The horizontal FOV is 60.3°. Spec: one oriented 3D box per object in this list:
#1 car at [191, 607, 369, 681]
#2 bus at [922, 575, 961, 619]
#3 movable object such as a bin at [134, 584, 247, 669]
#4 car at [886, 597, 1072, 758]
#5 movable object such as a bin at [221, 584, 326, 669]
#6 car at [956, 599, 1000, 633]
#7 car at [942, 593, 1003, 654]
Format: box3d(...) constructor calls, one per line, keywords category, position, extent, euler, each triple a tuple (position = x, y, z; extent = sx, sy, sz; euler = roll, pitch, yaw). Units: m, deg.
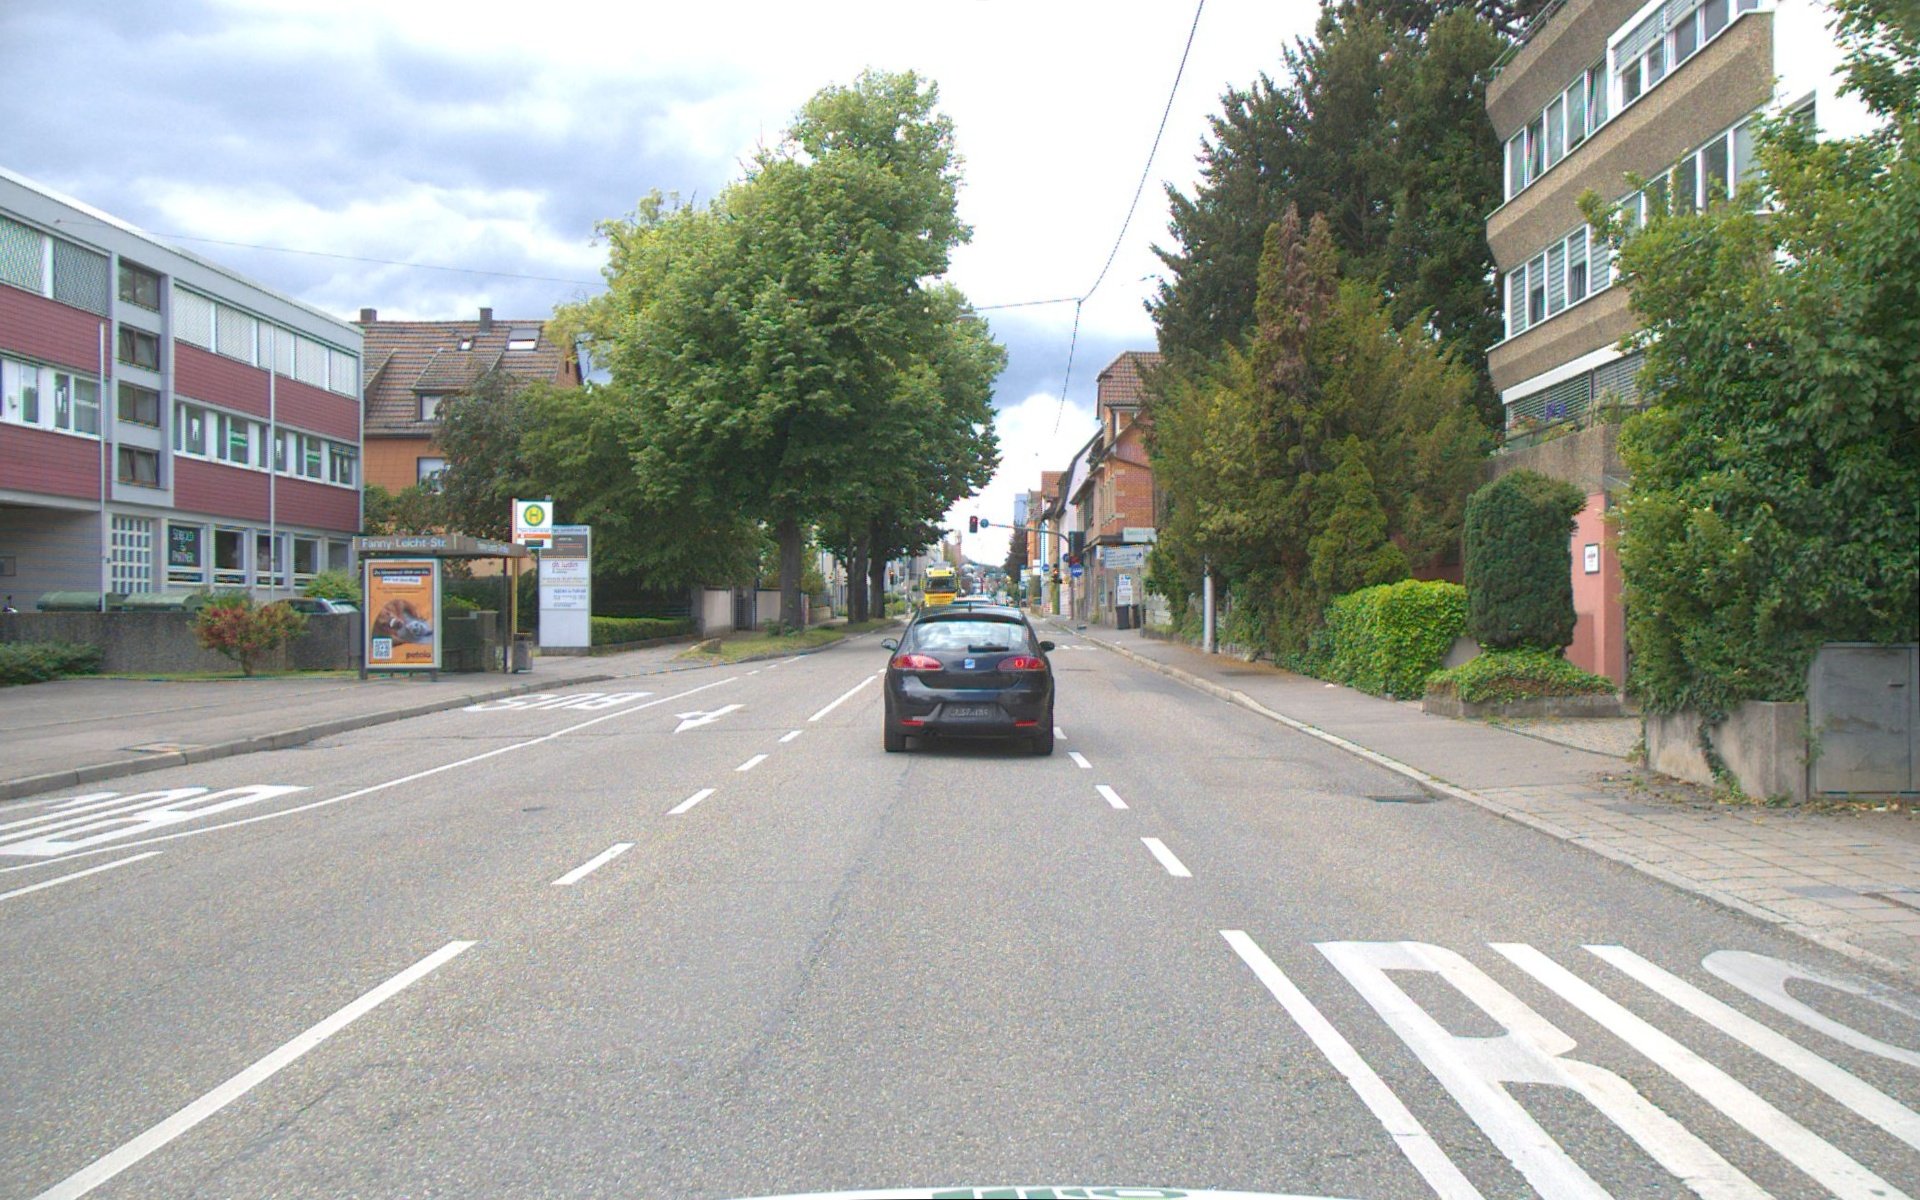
box3d(category="car", position=(-18.020, 1.137, 43.963), extent=(3.907, 1.822, 1.854), euler=(-1, 0, -2))
box3d(category="bus", position=(-1.363, -0.241, 125.512), extent=(2.810, 3.191, 6.397), euler=(-1, 0, 0))
box3d(category="movable object such as a bin", position=(-19.278, 0.636, 41.477), extent=(1.953, 2.049, 1.786), euler=(-1, 0, 0))
box3d(category="car", position=(0.099, 0.731, 17.500), extent=(1.724, 1.474, 3.712), euler=(1, 0, -3))
box3d(category="movable object such as a bin", position=(-17.185, 0.653, 41.475), extent=(1.953, 2.049, 1.542), euler=(-1, 0, -1))
box3d(category="car", position=(0.849, 0.757, 79.739), extent=(1.902, 1.507, 4.252), euler=(-2, 1, -2))
box3d(category="car", position=(0.429, 0.703, 51.307), extent=(1.781, 1.729, 4.254), euler=(-2, 1, 2))
